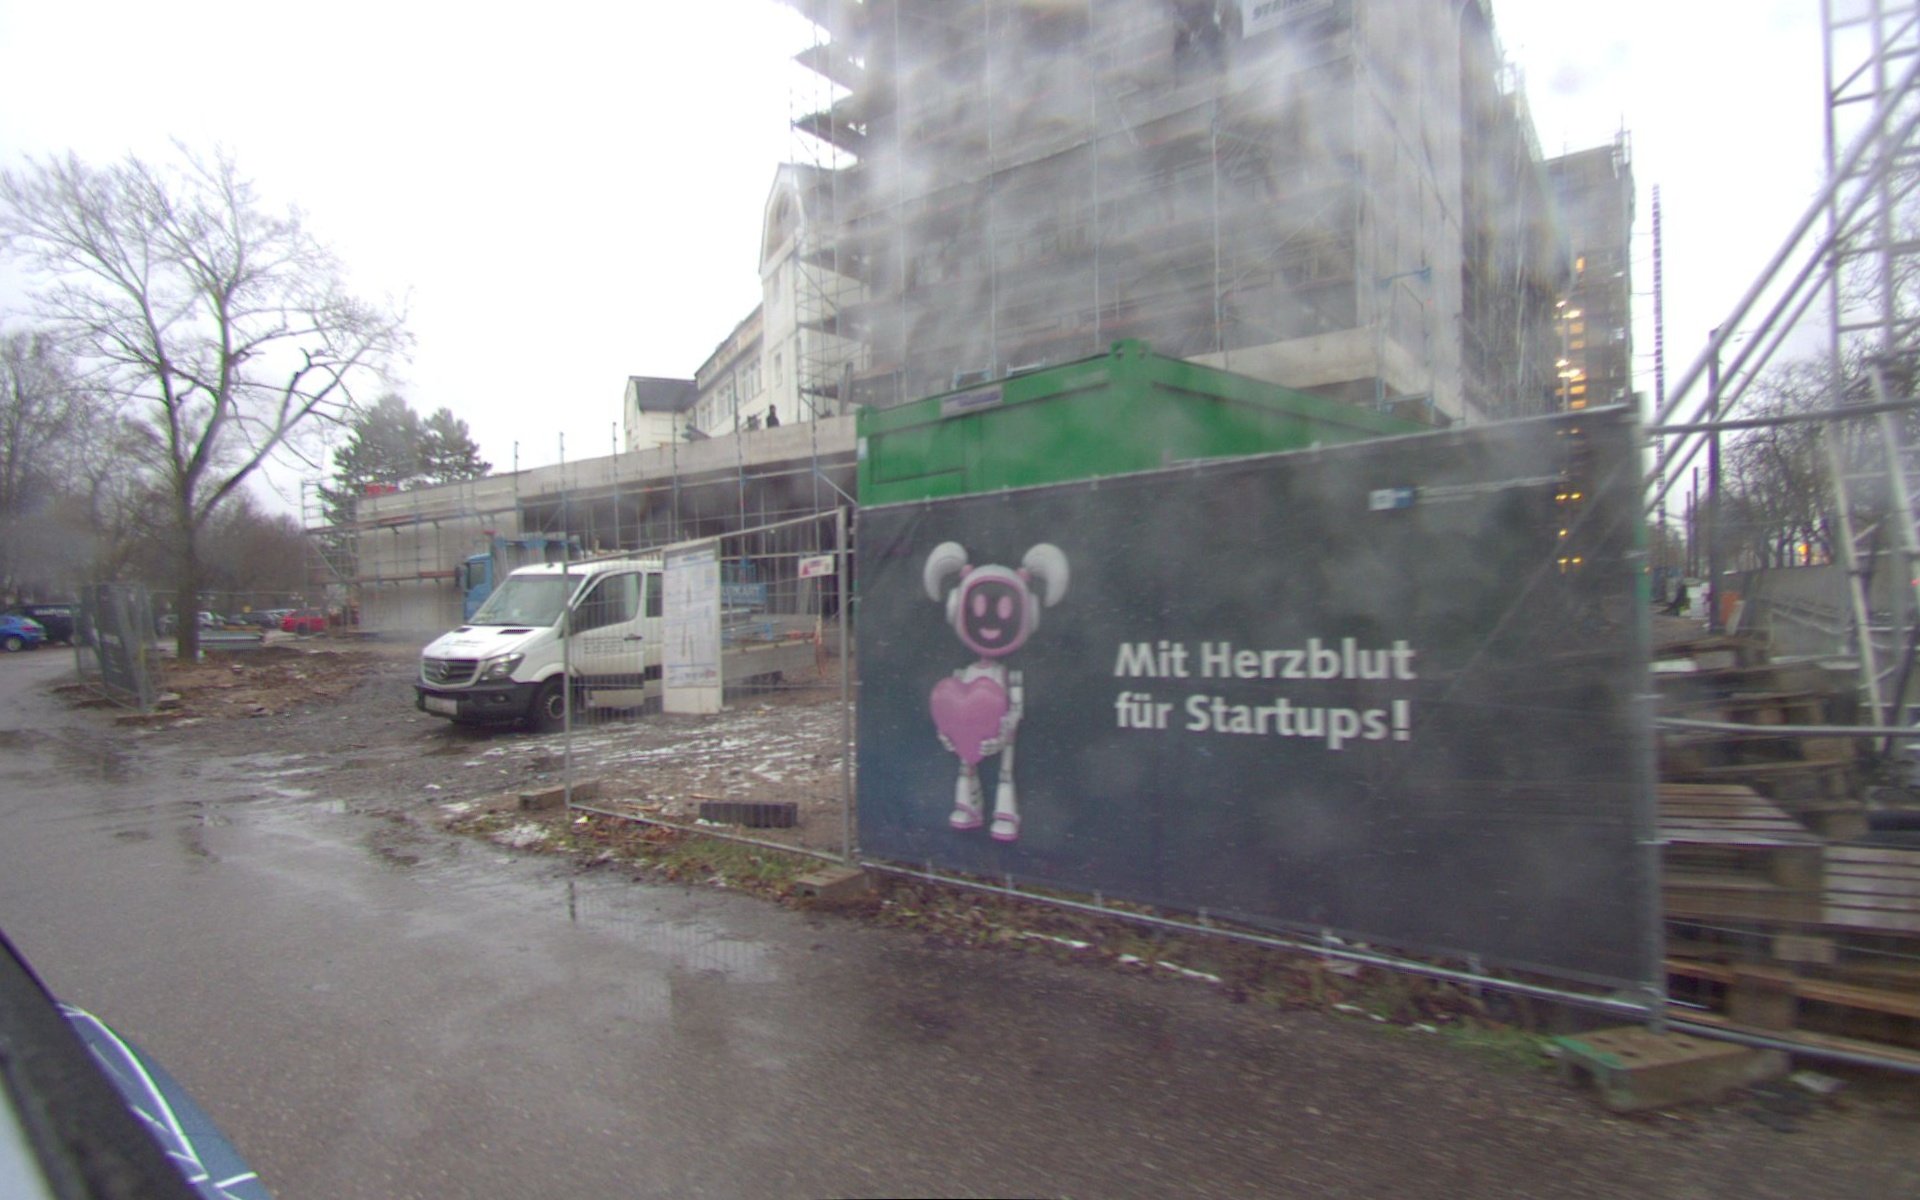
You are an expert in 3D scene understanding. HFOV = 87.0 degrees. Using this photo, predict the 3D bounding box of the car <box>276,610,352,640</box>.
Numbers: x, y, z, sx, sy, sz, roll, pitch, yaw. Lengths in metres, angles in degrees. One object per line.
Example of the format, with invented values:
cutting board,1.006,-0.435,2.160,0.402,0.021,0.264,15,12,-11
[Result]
car,-34.467,1.315,54.088,3.252,1.534,1.709,-1,0,-28

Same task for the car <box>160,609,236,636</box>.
car,-53.345,1.575,70.927,3.930,1.809,1.808,-1,0,-24

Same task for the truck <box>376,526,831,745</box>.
truck,-4.932,0.322,15.656,2.123,2.607,7.014,-1,1,28

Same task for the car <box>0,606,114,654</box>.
car,-40.759,1.310,45.356,3.930,2.007,2.007,-1,0,-24

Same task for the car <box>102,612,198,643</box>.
car,-46.639,1.555,58.390,3.930,1.674,2.007,-1,0,-24

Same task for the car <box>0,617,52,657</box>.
car,-38.686,1.491,39.728,4.109,1.489,2.006,0,-3,-27

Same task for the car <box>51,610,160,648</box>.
car,-43.738,1.448,51.899,3.930,1.809,1.808,-1,0,-24

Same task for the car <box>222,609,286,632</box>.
car,-56.944,1.625,81.661,3.930,1.809,1.808,-1,0,-24

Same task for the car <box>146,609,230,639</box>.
car,-49.077,1.520,64.405,3.930,1.809,1.808,-1,0,-24
